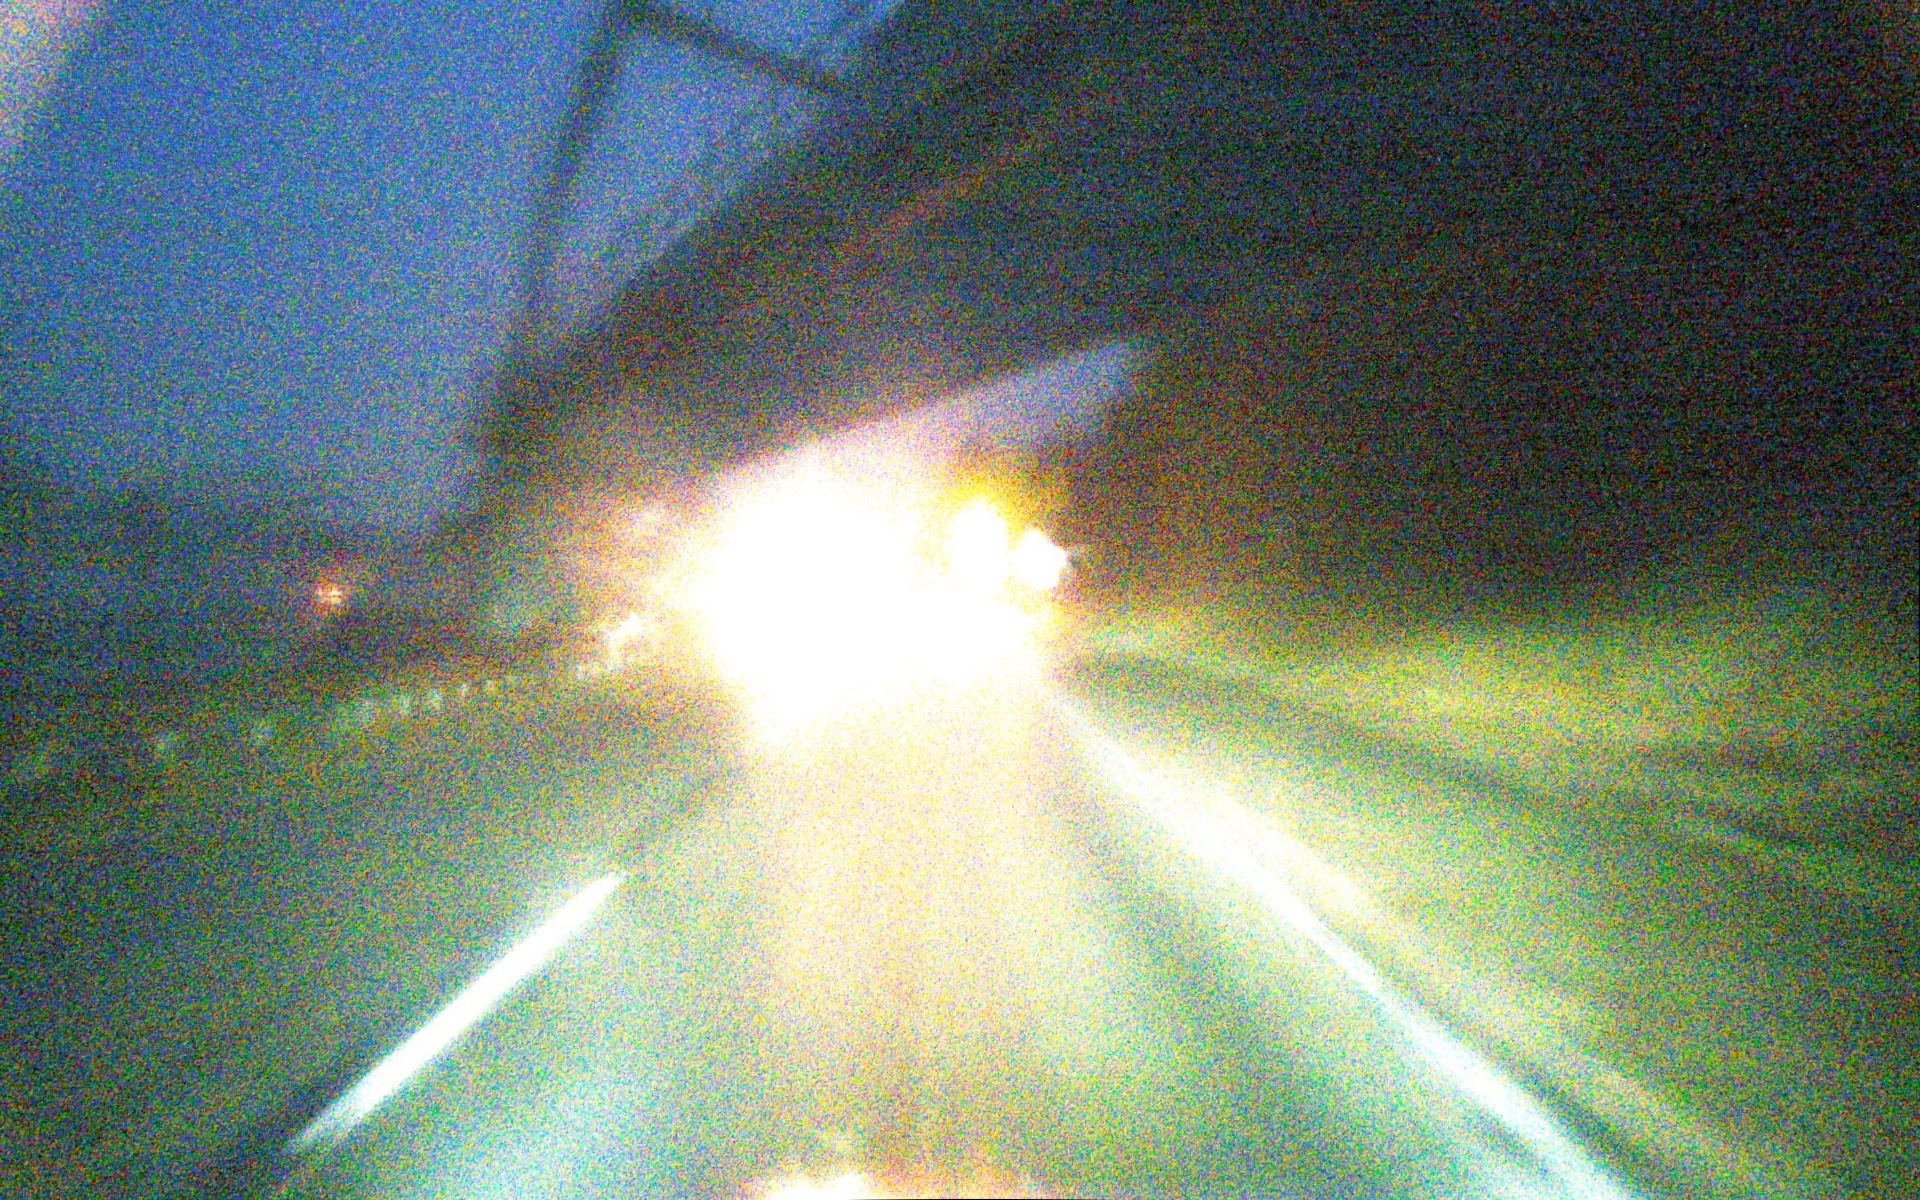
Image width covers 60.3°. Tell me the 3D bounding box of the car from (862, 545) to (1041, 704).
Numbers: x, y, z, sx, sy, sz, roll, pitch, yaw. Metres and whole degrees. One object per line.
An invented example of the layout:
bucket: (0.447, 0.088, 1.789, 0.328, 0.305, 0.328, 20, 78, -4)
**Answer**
car: (-0.177, 0.347, 27.967, 2.660, 2.348, 6.099, 1, 0, -1)

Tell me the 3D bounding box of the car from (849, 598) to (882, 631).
car: (-5.982, 0.910, 104.670, 1.954, 1.948, 3.996, 2, -1, -4)
